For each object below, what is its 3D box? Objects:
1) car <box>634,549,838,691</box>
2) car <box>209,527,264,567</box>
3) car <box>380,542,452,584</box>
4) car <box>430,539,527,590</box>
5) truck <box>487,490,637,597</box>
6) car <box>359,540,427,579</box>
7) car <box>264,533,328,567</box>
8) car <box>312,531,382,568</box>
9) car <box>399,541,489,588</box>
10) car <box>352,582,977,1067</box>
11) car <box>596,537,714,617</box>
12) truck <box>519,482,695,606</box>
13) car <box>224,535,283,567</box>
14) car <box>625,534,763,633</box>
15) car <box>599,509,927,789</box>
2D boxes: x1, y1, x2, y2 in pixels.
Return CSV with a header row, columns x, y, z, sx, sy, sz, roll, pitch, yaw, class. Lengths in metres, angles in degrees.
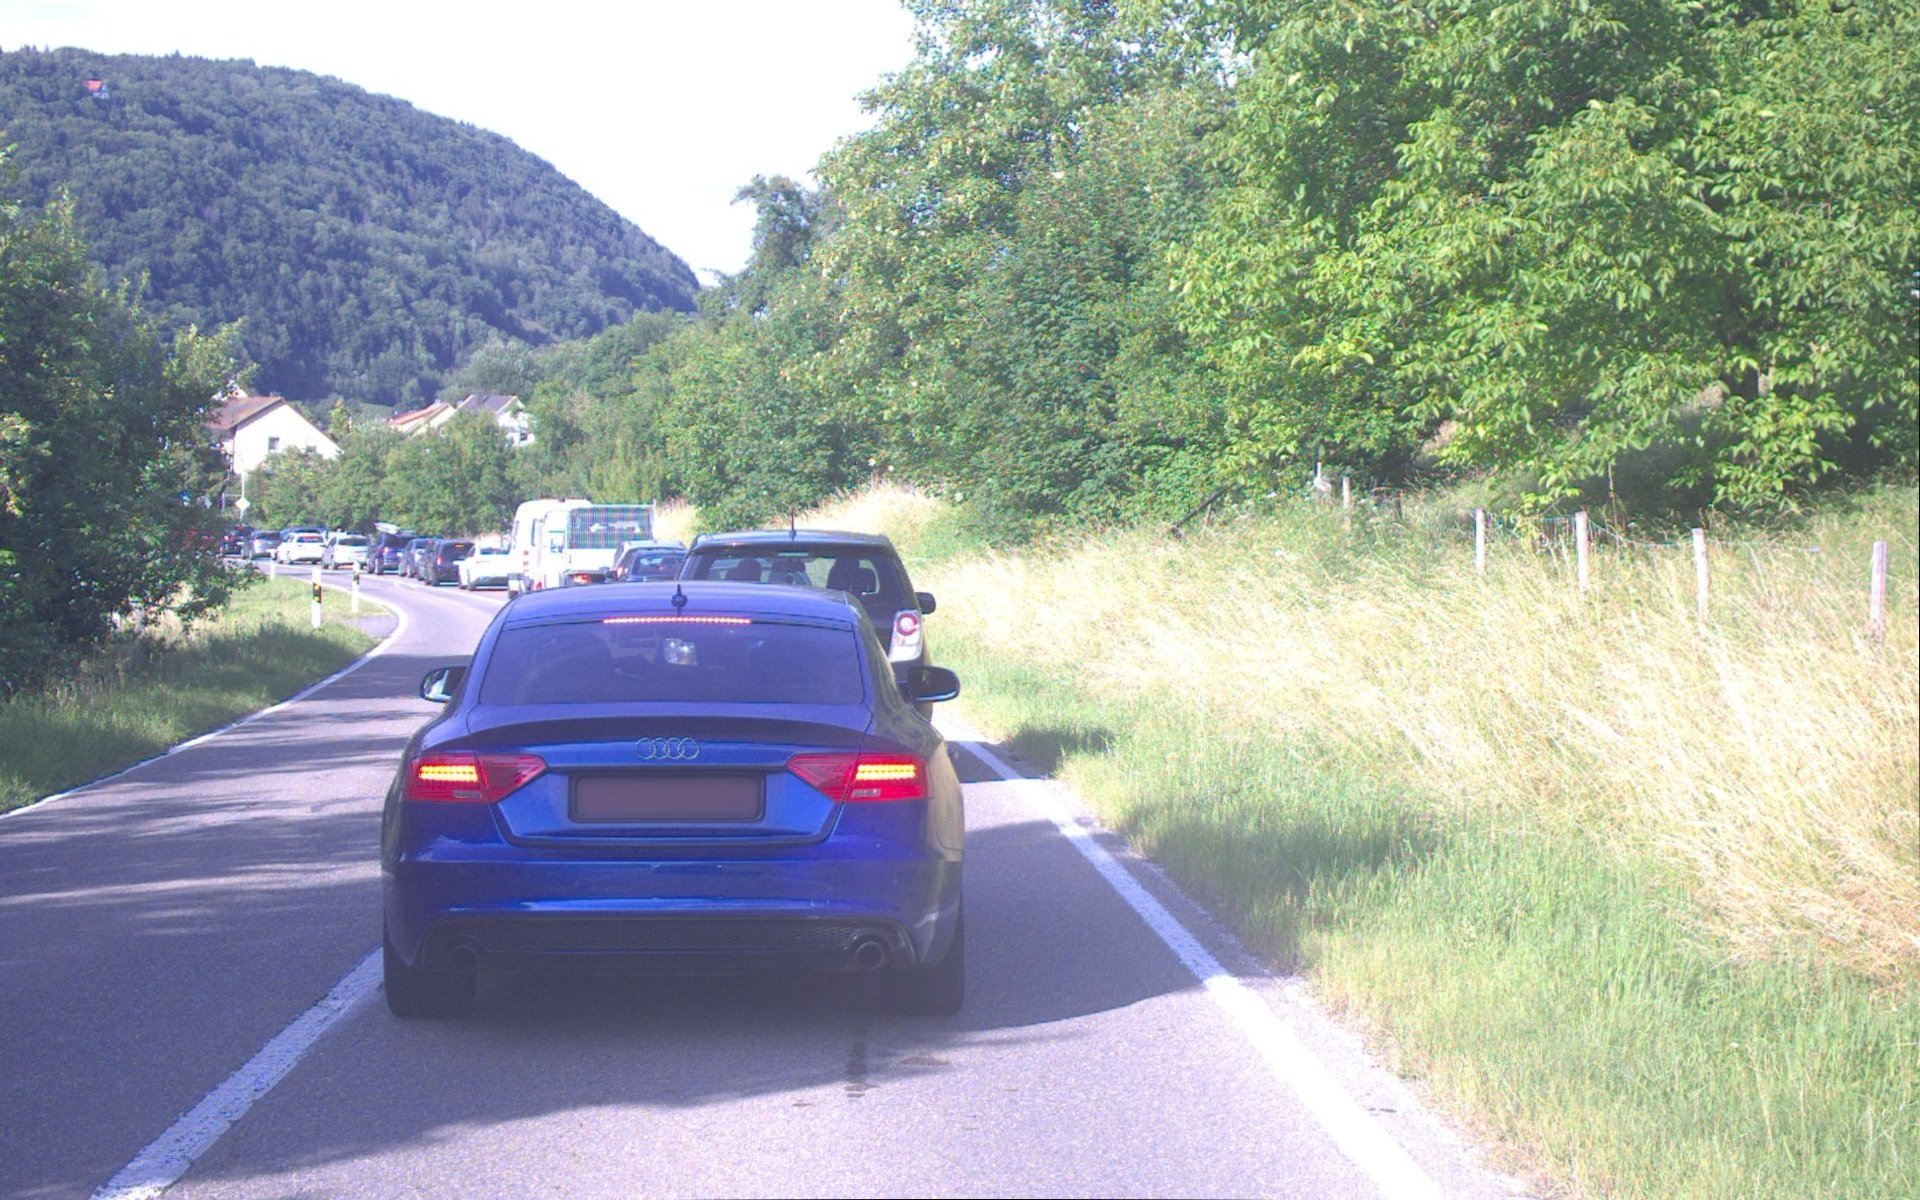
x,y,z,sx,sy,sz,roll,pitch,yaw,class
-2.285,0.181,36.023,1.993,1.382,4.000,1,0,-2,car
-37.152,-2.715,176.442,1.993,2.007,4.001,1,0,-23,car
-19.993,-1.353,126.305,1.993,1.477,4.001,1,0,-18,car
-14.631,-1.076,104.229,1.993,1.477,4.001,0,0,-22,car
-10.713,-1.503,91.636,2.863,2.656,10.648,1,1,-13,truck
-21.902,-1.556,132.711,1.993,1.477,4.001,1,0,-18,car
-30.338,-2.278,157.089,1.993,1.477,4.001,0,0,-24,car
-25.800,-2.121,144.635,1.993,1.477,4.001,0,0,-24,car
-16.752,-1.162,111.403,1.993,1.477,4.001,0,0,-22,car
-0.880,0.634,11.881,1.793,1.355,4.000,0,1,-1,car
-5.912,-0.453,66.306,1.993,1.477,4.001,1,0,-9,car
-8.315,-1.294,79.828,2.863,2.656,10.396,1,1,-13,truck
-34.637,-2.398,168.448,1.993,1.477,4.001,0,0,-24,car
-4.203,-0.265,53.844,1.993,1.477,4.001,1,0,-6,car
-1.273,0.286,23.134,1.993,1.696,4.000,1,0,-2,car
